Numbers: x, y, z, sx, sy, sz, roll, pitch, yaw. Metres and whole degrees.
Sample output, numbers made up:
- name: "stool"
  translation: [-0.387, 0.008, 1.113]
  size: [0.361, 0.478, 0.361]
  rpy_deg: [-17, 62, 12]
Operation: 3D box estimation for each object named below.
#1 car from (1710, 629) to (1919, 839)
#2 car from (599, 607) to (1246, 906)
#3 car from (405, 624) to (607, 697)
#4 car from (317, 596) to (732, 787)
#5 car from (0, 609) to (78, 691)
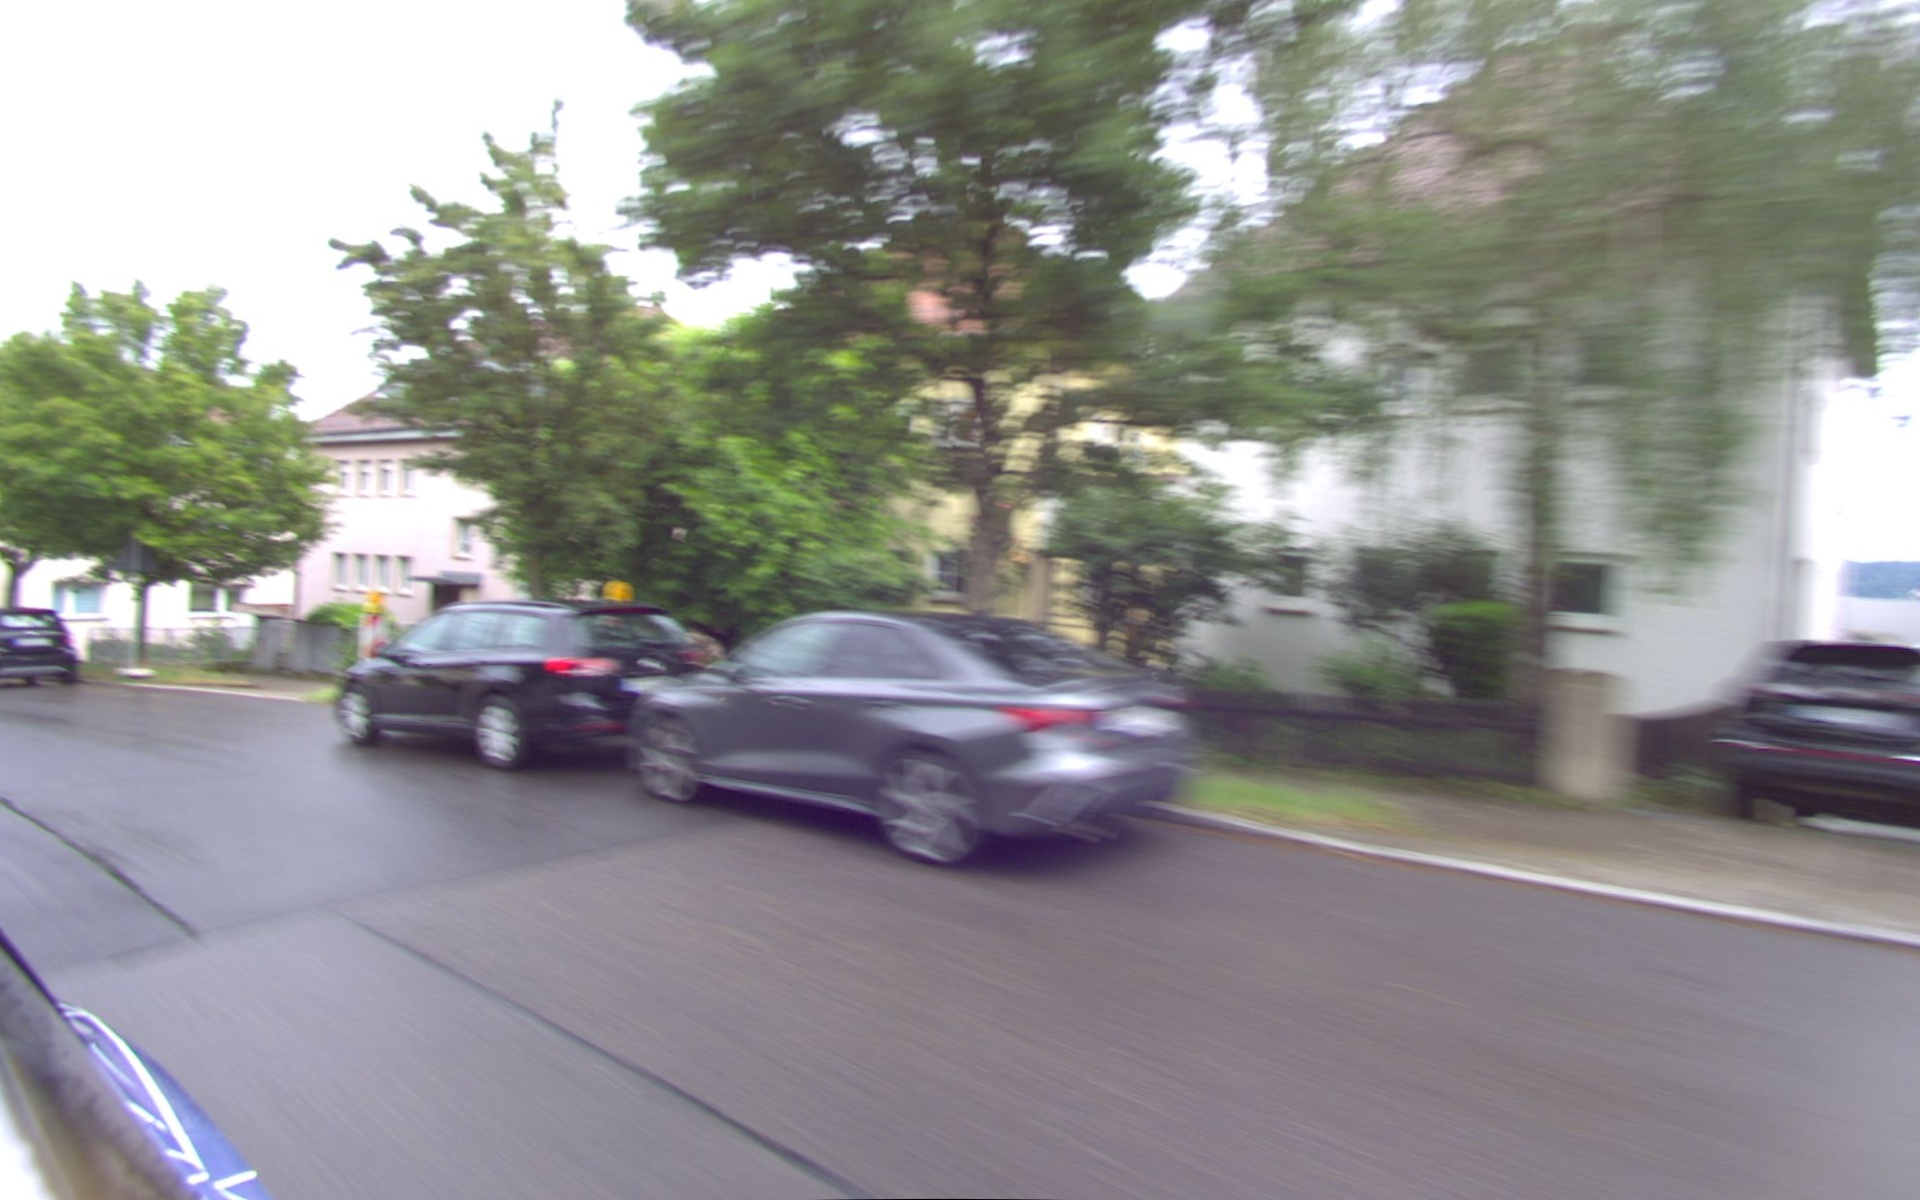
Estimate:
- name: "car"
  translation: [8.468, 1.287, 8.978]
  size: [4.186, 1.516, 1.917]
  rpy_deg: [10, -7, -39]
- name: "car"
  translation: [-0.530, 0.760, 6.943]
  size: [4.528, 1.393, 1.689]
  rpy_deg: [0, 0, 41]
- name: "car"
  translation: [-10.550, 1.462, 23.778]
  size: [1.823, 1.371, 3.885]
  rpy_deg: [0, -7, 33]
- name: "car"
  translation: [-4.439, 0.731, 10.009]
  size: [4.521, 1.495, 1.717]
  rpy_deg: [0, 0, 36]
- name: "car"
  translation: [-19.245, 0.960, 20.230]
  size: [3.023, 1.546, 1.508]
  rpy_deg: [-1, -1, 29]
